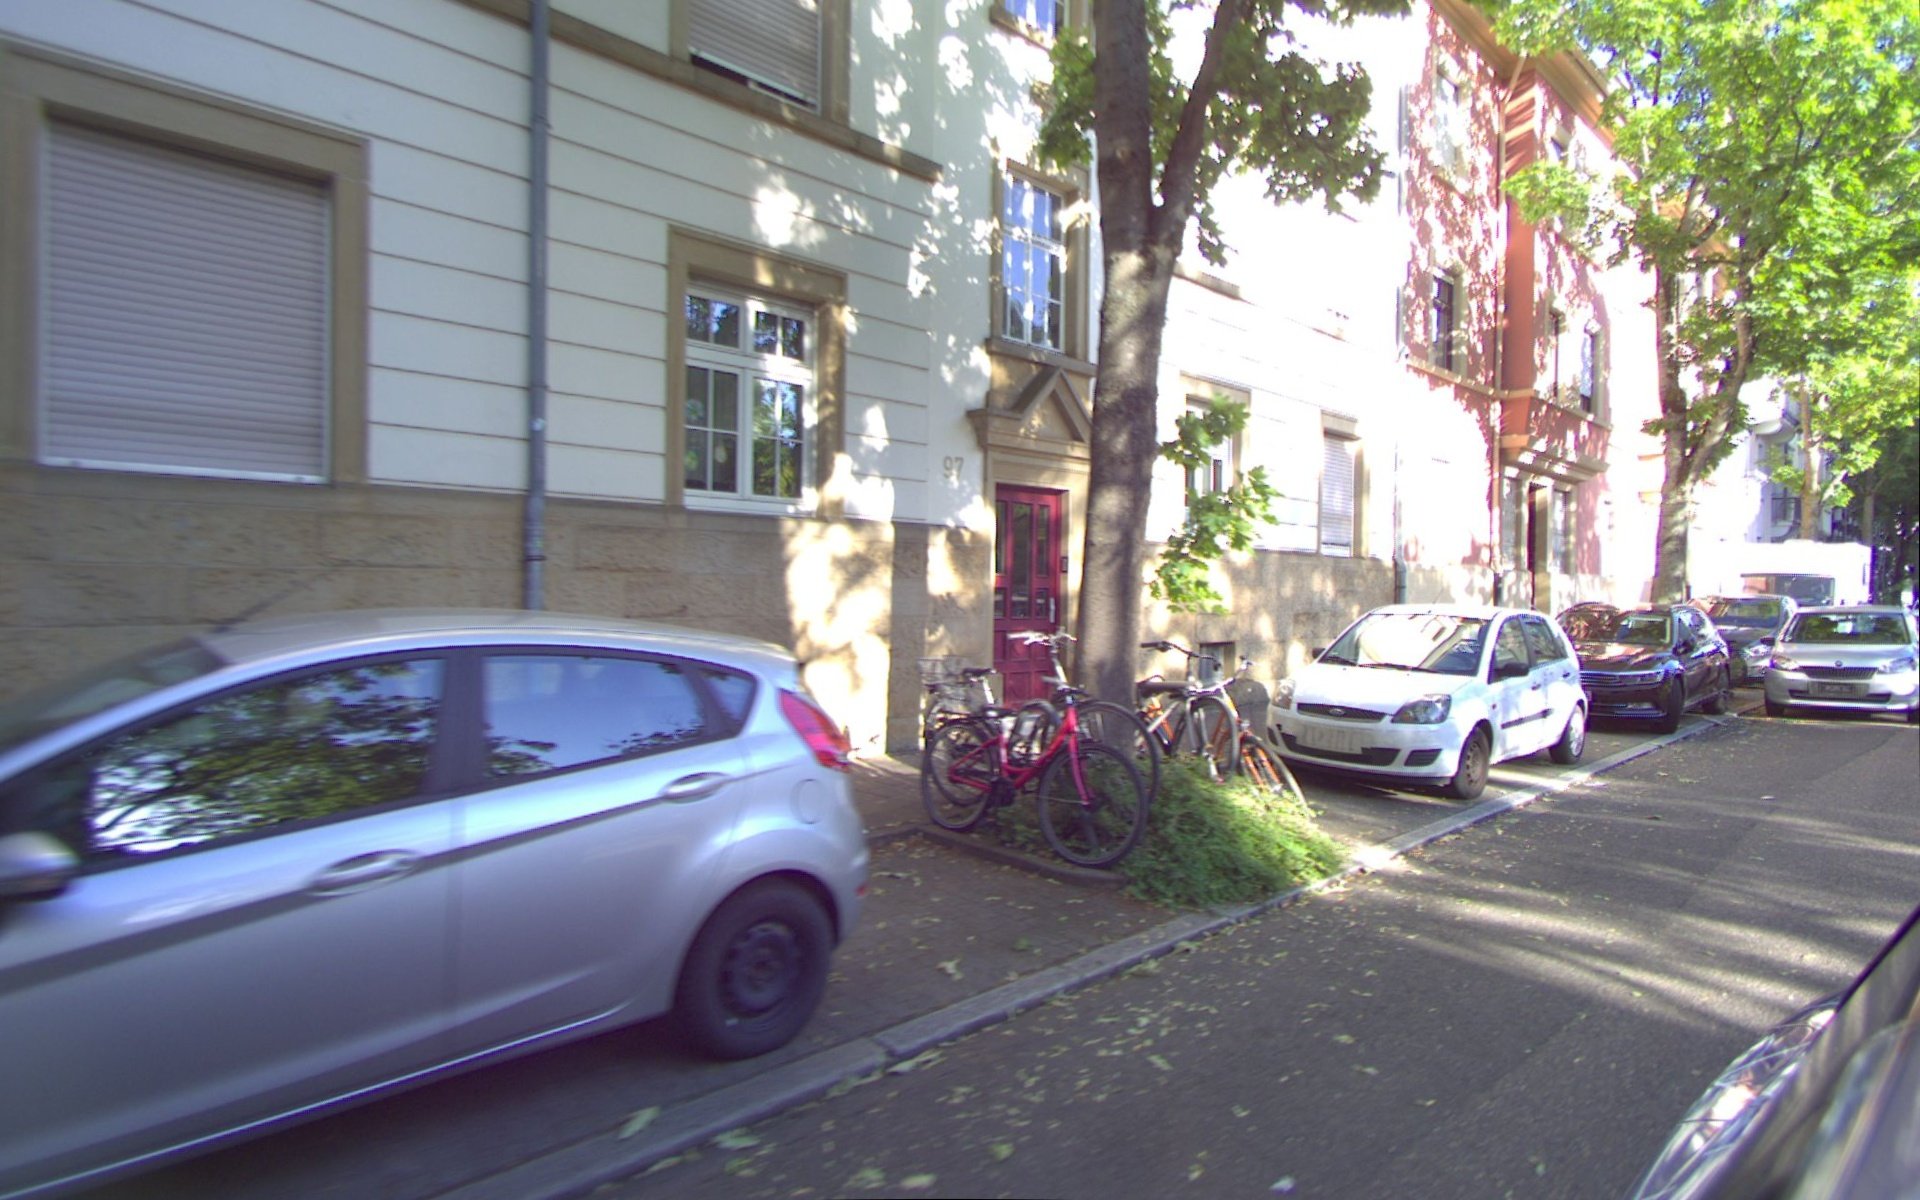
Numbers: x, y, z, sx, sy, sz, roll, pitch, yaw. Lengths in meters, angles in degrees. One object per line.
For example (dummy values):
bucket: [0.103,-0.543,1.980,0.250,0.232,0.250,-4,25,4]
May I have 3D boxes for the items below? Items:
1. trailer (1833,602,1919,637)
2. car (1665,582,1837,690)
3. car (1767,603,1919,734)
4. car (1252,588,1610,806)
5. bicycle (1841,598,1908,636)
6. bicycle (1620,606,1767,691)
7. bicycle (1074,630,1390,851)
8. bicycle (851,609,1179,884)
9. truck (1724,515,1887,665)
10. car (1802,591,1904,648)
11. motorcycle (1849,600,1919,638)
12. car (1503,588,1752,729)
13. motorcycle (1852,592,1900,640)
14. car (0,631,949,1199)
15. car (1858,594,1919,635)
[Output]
trailer: [30.954,0.647,34.189,2.072,1.126,1.102,1,0,34]
car: [14.813,0.572,18.841,4.863,1.737,1.887,0,1,-44]
car: [12.492,0.829,13.946,3.737,1.564,1.680,0,0,-44]
car: [4.313,0.671,9.019,3.685,1.506,1.599,0,2,-43]
bicycle: [33.343,0.610,36.918,0.576,1.321,1.760,0,1,-44]
bicycle: [11.871,0.752,16.436,0.560,1.181,1.813,0,3,-43]
bicycle: [1.690,0.818,6.619,0.589,1.086,1.973,0,3,-41]
bicycle: [0.244,0.736,6.003,0.747,1.244,1.973,0,3,-41]
truck: [19.432,-0.265,23.138,6.007,3.005,2.076,0,3,-44]
car: [26.991,0.528,30.521,4.699,1.548,1.754,0,2,-42]
motorcycle: [31.997,0.648,35.008,1.735,1.256,0.701,0,0,9]
car: [8.797,0.629,13.179,4.385,1.533,1.788,0,0,-44]
motorcycle: [29.685,0.501,32.781,2.101,1.505,0.931,0,0,-42]
car: [-2.093,0.890,3.058,4.087,1.411,1.624,0,2,-43]
car: [36.340,0.534,39.363,4.356,1.439,1.682,0,2,-43]
